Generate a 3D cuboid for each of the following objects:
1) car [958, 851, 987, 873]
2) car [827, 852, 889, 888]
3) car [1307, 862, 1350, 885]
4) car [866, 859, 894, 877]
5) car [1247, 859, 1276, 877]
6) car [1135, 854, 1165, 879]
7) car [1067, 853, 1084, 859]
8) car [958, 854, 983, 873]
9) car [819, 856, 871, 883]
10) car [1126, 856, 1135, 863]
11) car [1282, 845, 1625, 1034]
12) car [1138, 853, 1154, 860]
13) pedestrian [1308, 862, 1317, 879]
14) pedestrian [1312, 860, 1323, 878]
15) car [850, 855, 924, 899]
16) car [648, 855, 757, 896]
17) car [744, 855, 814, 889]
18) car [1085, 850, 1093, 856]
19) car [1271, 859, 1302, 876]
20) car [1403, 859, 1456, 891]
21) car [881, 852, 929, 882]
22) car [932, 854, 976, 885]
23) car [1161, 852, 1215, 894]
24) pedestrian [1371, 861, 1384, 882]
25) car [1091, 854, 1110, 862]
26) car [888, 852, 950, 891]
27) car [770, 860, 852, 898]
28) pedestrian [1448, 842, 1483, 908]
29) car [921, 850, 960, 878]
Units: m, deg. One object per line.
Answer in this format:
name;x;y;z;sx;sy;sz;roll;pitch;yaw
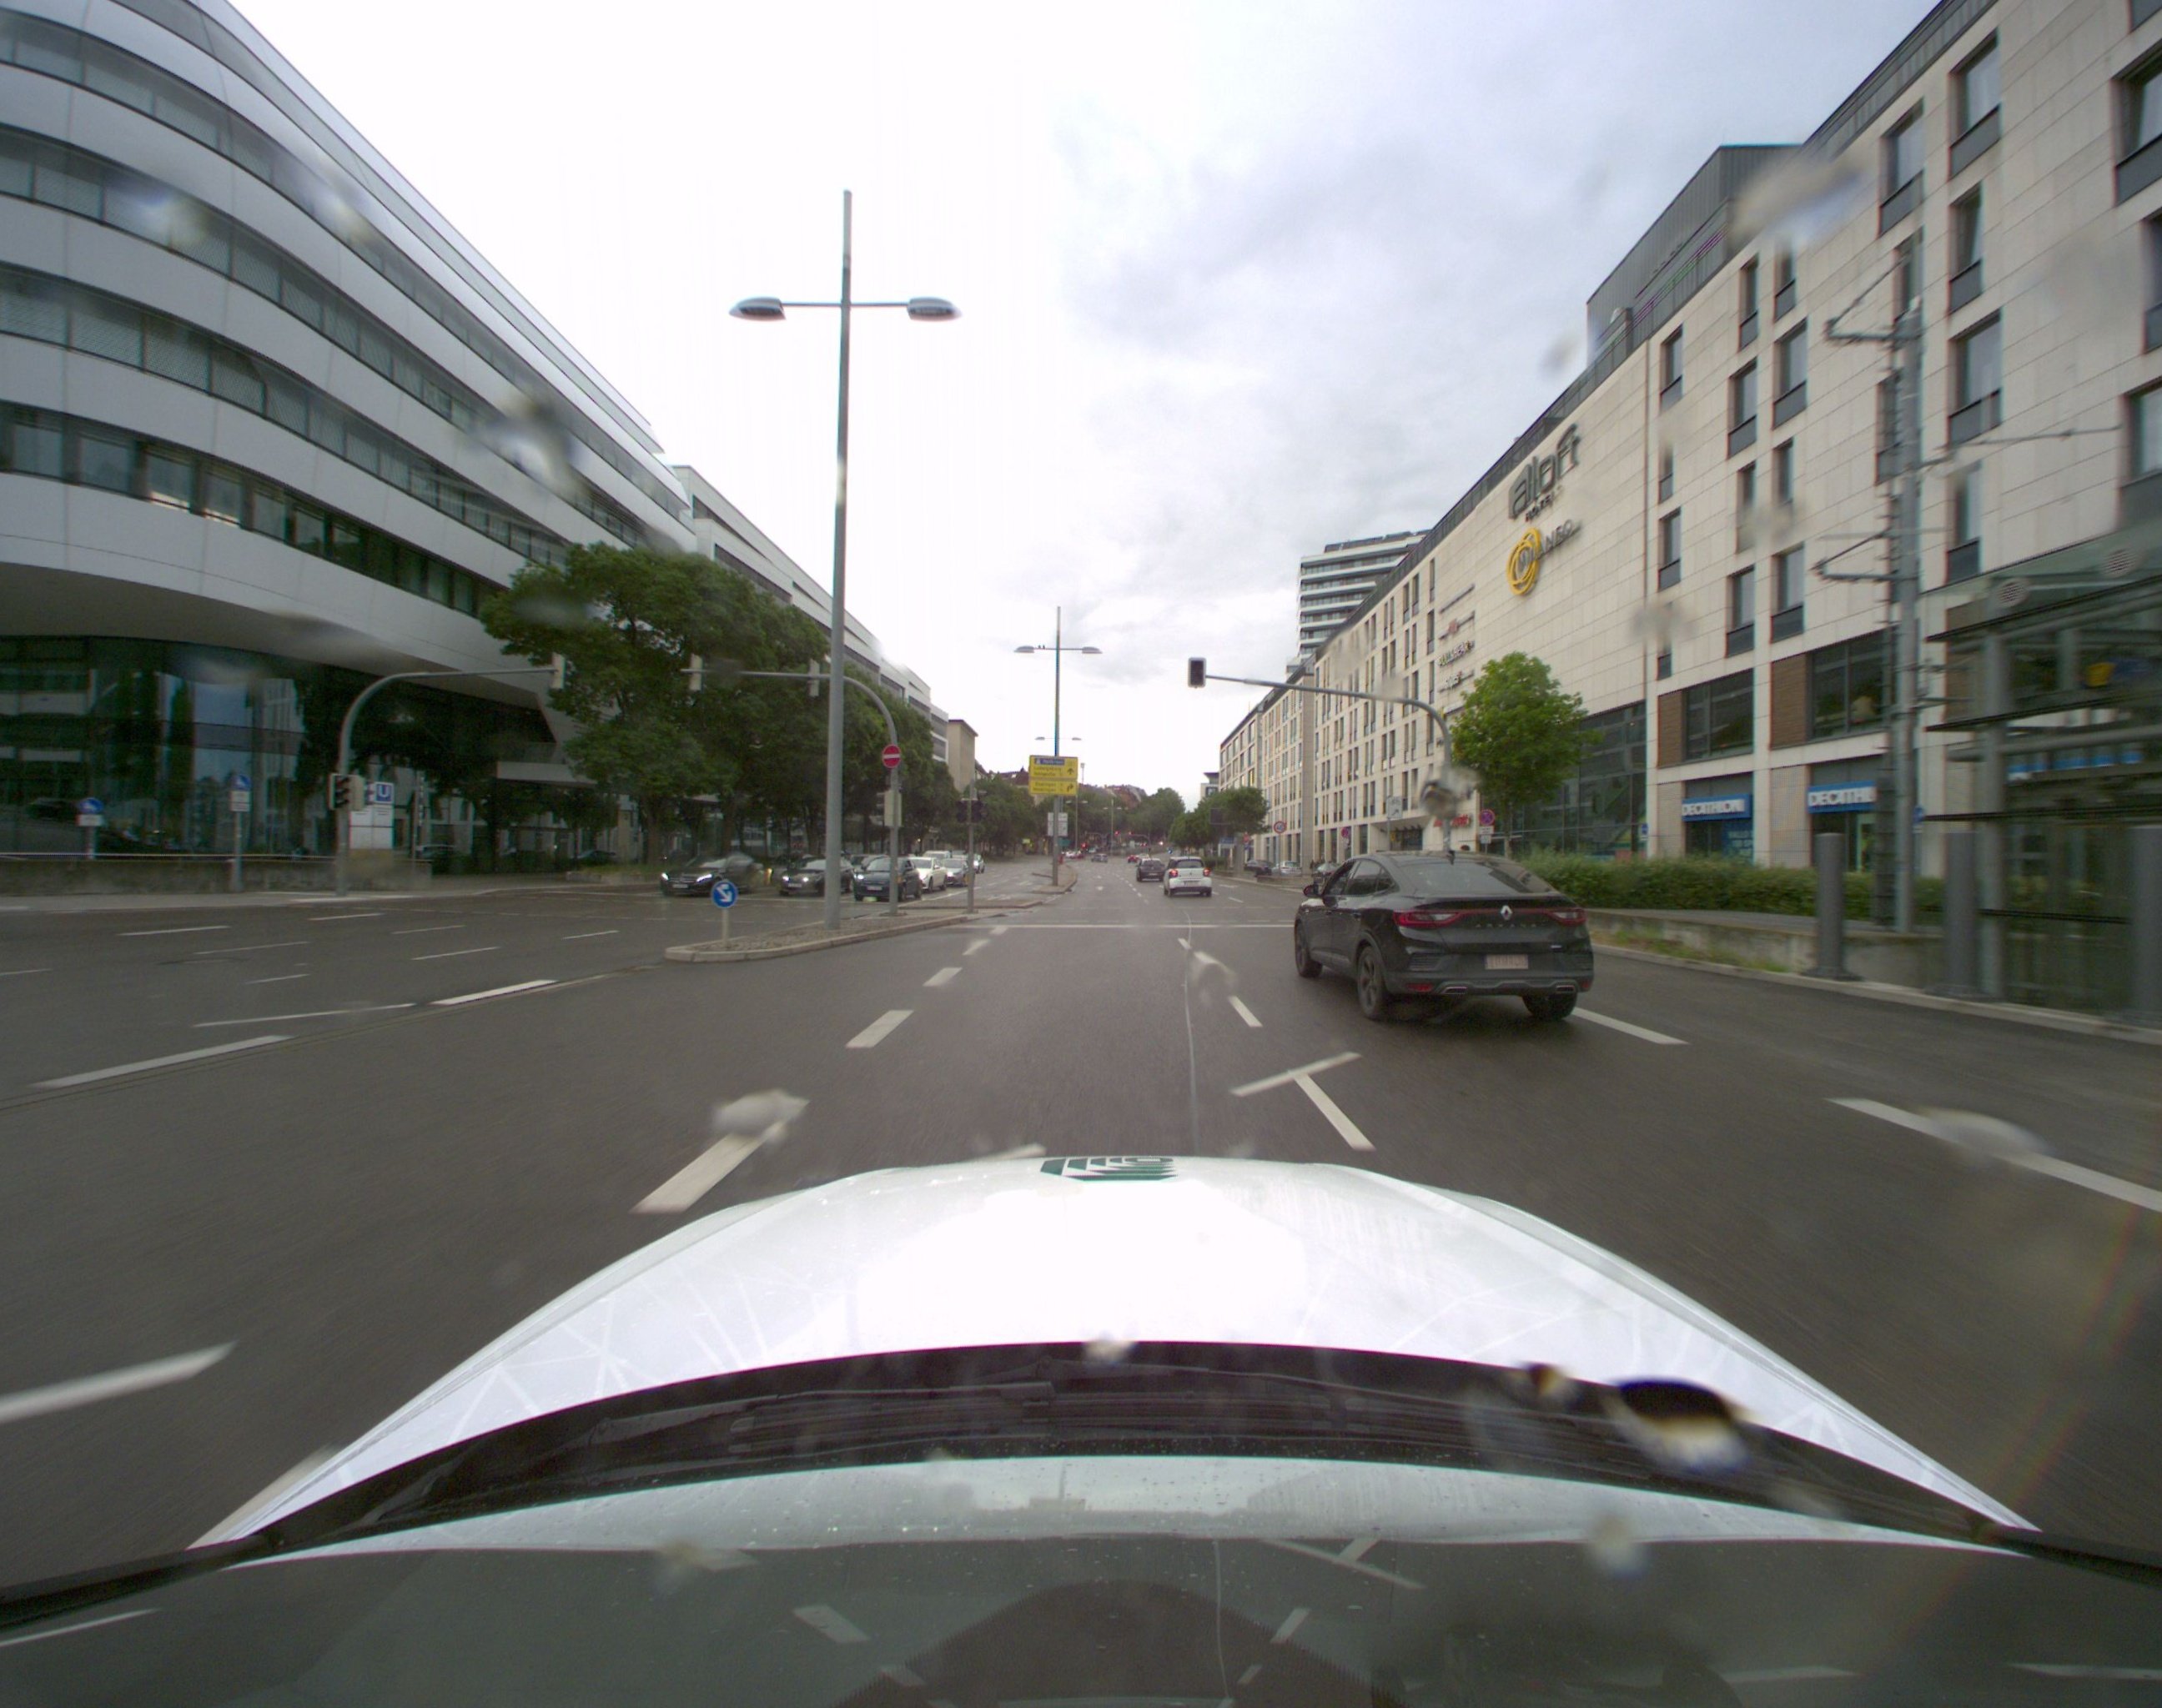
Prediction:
car;-8.752;0.671;65.974;1.736;1.748;3.541;0;-1;2
car;-10.012;0.718;36.764;1.736;1.559;3.541;0;-1;2
car;14.328;1.116;47.296;1.500;1.266;3.503;0;-1;2
car;-19.784;1.356;80.327;1.736;1.748;3.541;0;-1;2
car;14.727;1.164;66.615;1.655;1.400;3.833;0;-1;2
car;4.386;0.829;52.053;1.733;1.531;3.815;0;-1;2
car;-1.417;0.496;197.126;3.823;1.531;1.730;0;0;-28
car;-10.552;0.883;77.901;1.736;1.748;3.541;0;-1;2
car;-12.997;0.864;45.101;1.736;1.424;3.541;0;-1;2
car;10.226;1.152;167.742;1.733;1.531;3.815;0;-1;2
car;3.527;0.677;8.705;1.784;1.506;4.340;0;0;1
car;15.846;0.613;199.245;3.778;1.531;1.750;-1;0;10
pedestrian;21.827;1.561;76.781;0.671;1.528;0.727;0;-1;1
pedestrian;19.789;1.230;68.147;0.671;1.528;0.727;0;-1;1
car;-6.821;0.805;28.981;1.736;1.444;3.396;0;-1;2
car;-13.108;0.742;28.507;1.736;1.328;4.227;0;-1;2
car;-13.615;0.807;36.912;1.736;1.424;3.541;0;-1;2
car;2.415;-0.338;238.113;1.730;1.531;3.823;-1;0;9
car;15.369;1.005;61.055;1.500;1.266;3.503;0;-1;2
car;14.500;0.854;33.997;1.495;1.266;3.515;-1;-1;14
car;-9.433;0.713;43.902;1.736;1.559;3.541;0;-1;2
car;-6.387;0.769;41.240;1.532;1.477;3.697;0;-1;2
car;4.192;0.746;32.377;1.718;1.531;3.815;0;-1;2
pedestrian;21.248;1.244;58.417;0.671;1.528;0.727;0;-1;1
car;3.822;0.720;159.767;1.754;1.531;3.771;0;0;-37
car;-6.927;0.753;35.200;1.696;1.559;4.246;0;-1;2
car;-9.923;0.871;30.158;1.736;1.257;3.541;1;0;2
pedestrian;10.848;0.597;23.007;0.724;1.832;0.510;0;-1;1
car;-9.006;0.641;52.464;1.736;1.748;3.541;0;-1;2
